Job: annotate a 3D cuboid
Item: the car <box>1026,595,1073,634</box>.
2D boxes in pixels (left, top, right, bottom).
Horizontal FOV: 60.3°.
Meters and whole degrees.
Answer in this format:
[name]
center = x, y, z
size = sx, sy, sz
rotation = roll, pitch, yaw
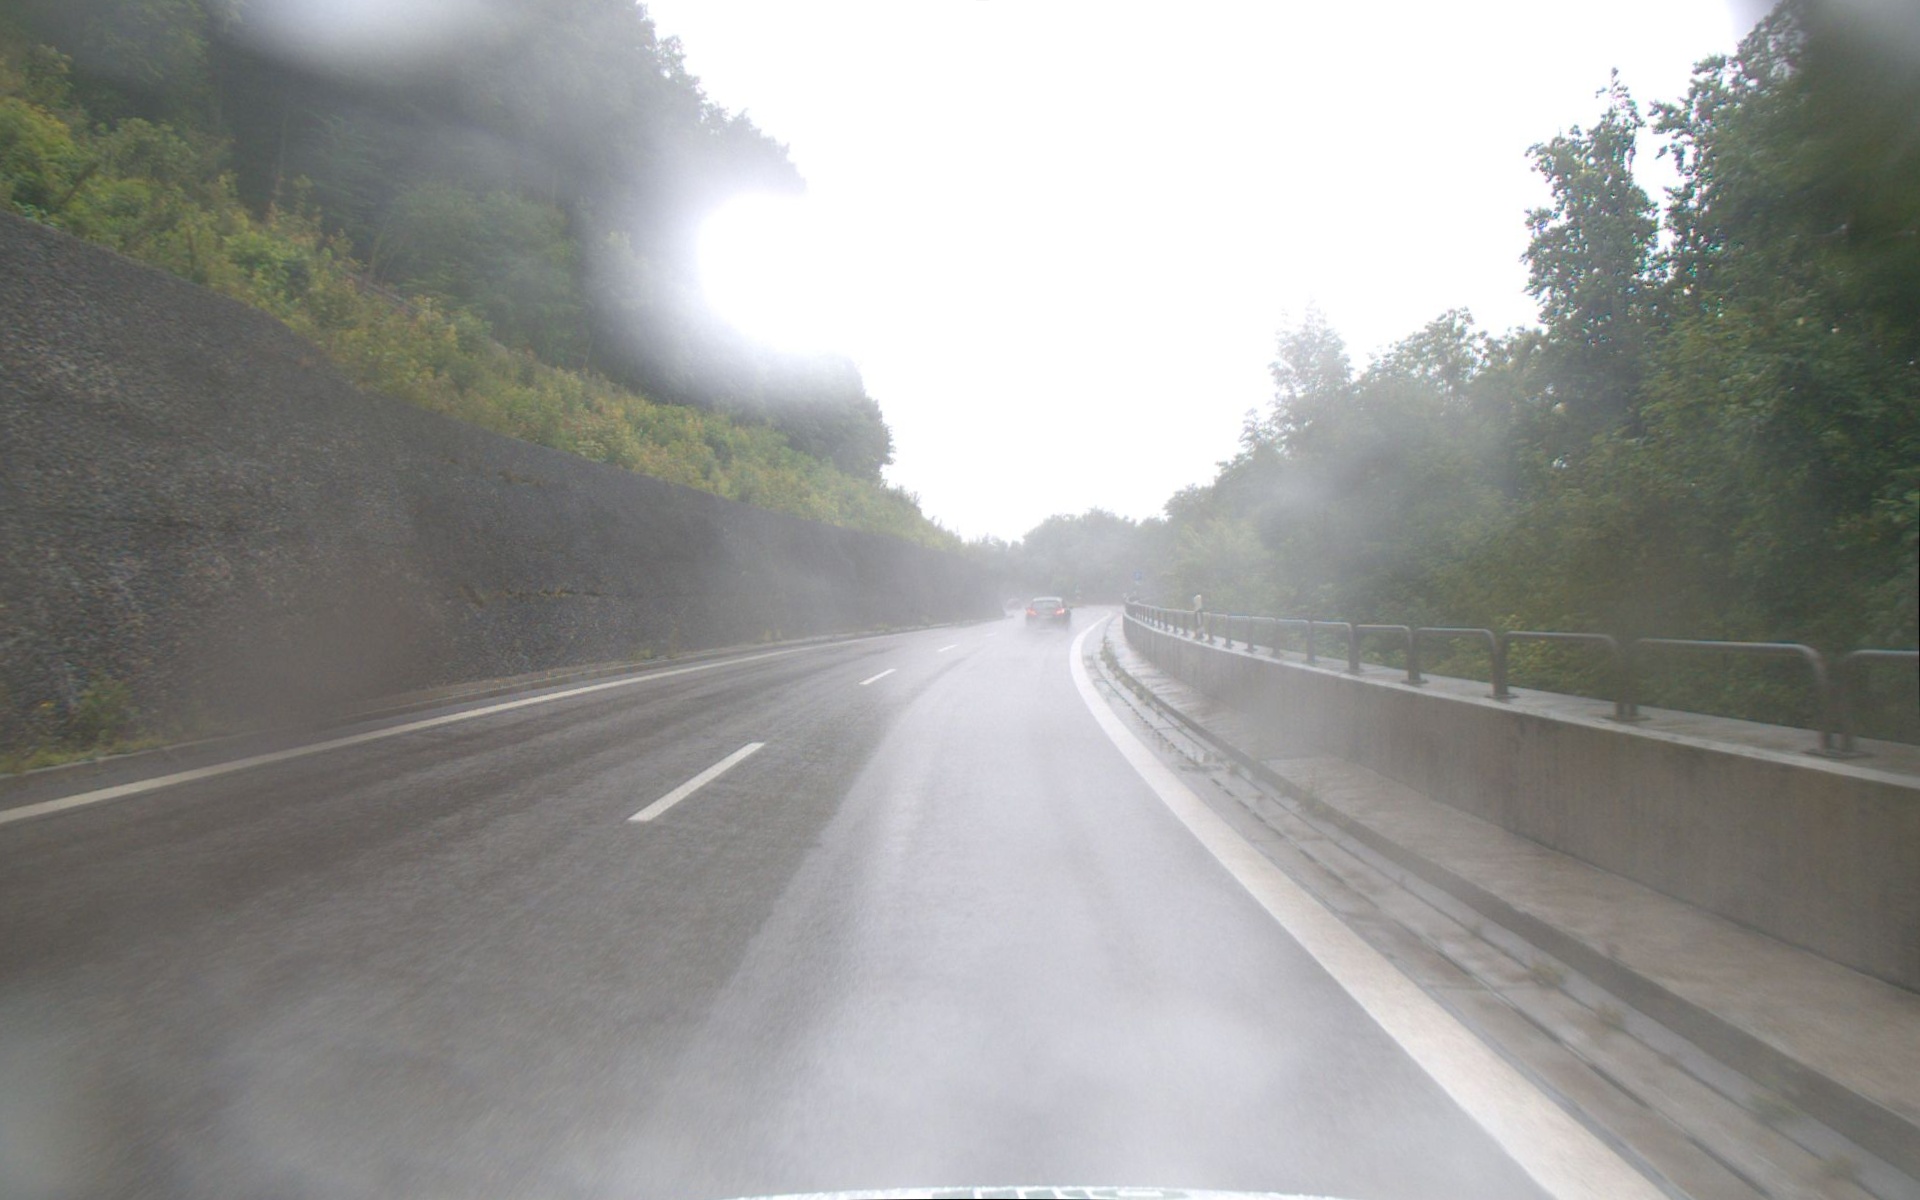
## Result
[car]
center = 3.720, 0.589, 69.142
size = 1.864, 1.525, 4.001
rotation = -1, 0, 2
